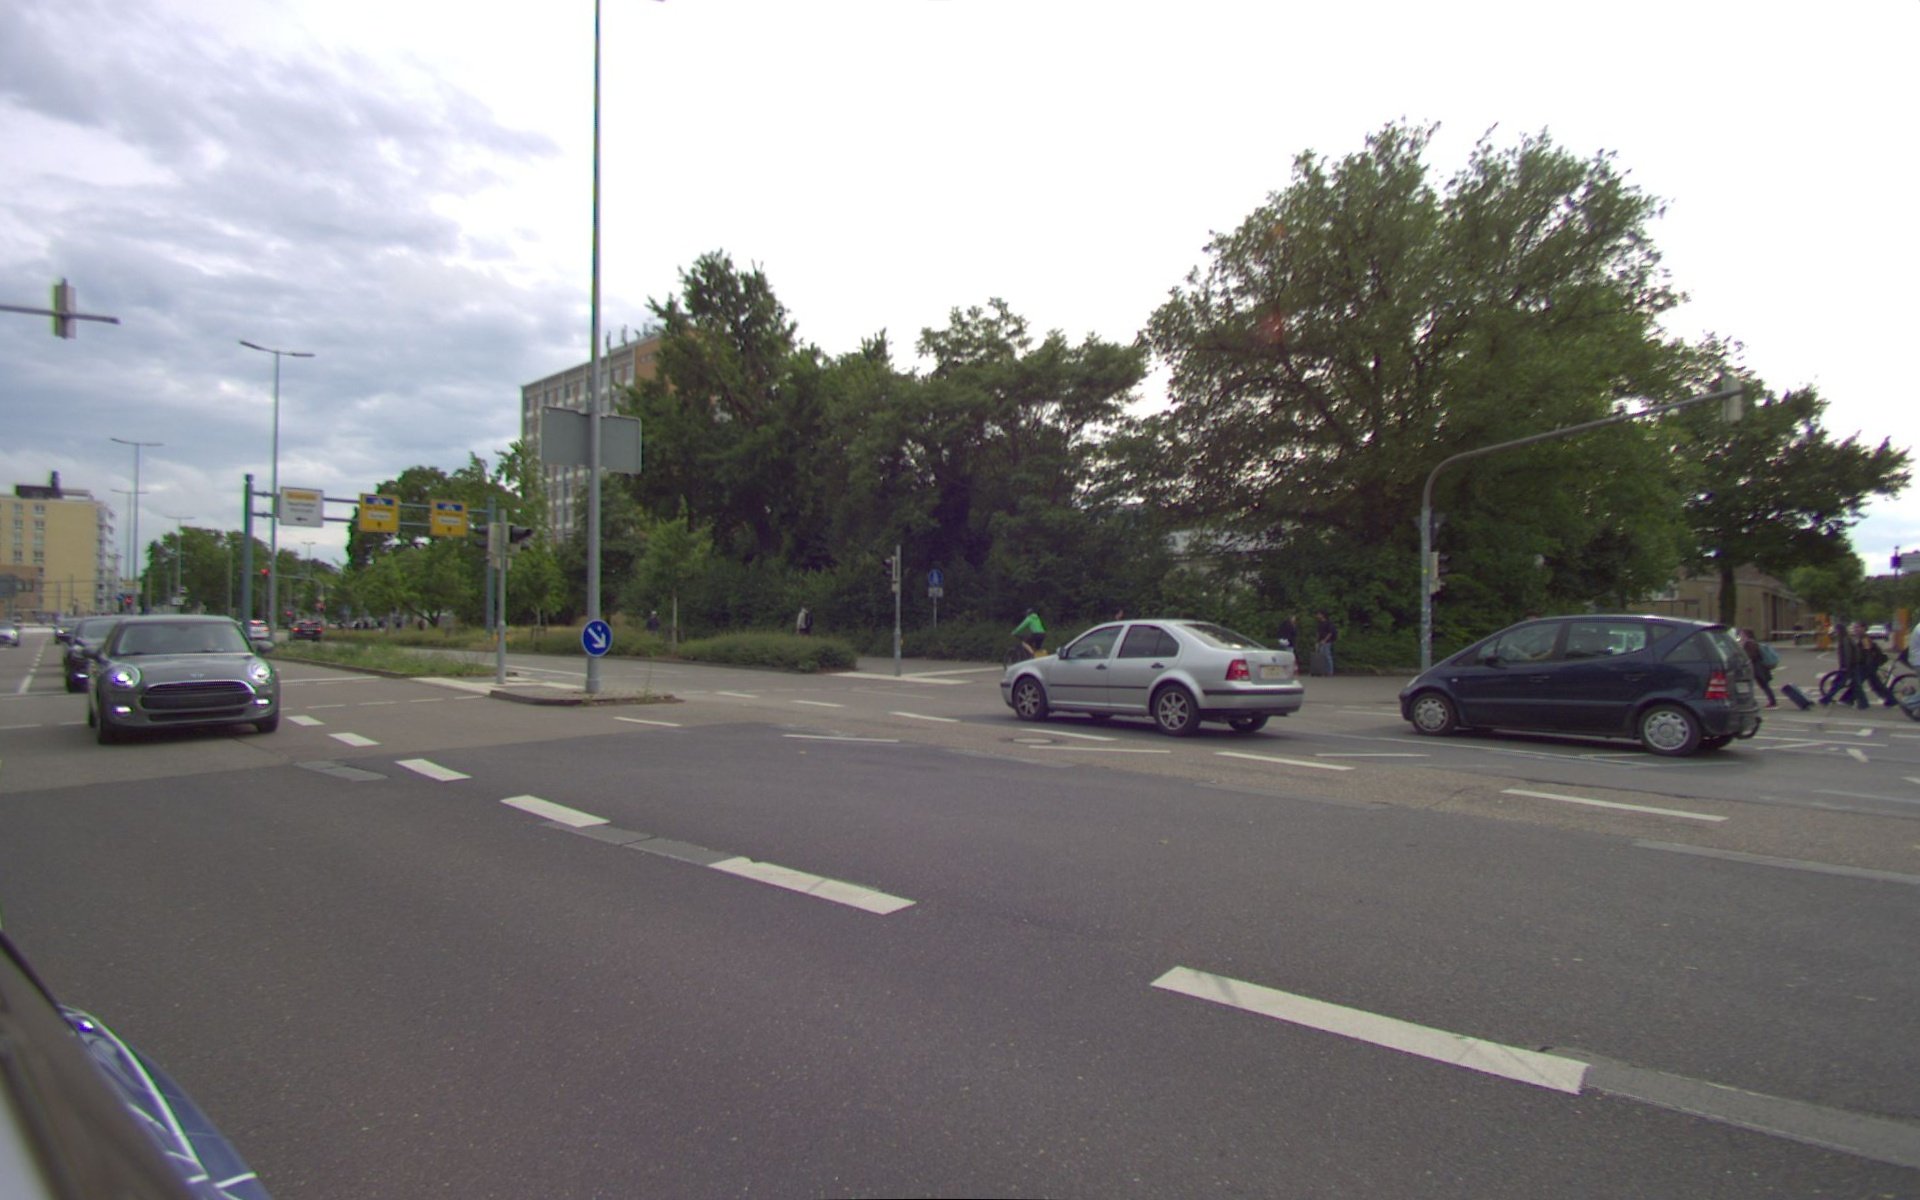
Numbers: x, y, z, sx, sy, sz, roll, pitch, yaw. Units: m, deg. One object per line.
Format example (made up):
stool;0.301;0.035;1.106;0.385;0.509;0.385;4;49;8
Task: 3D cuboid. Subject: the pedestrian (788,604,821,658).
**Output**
pedestrian;-5.990;1.178;38.942;0.895;2.029;0.824;-2;-1;-38

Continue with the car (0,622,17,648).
car;-52.213;1.890;54.826;1.583;1.378;3.582;0;-1;-44

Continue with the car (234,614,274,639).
car;-53.530;2.004;76.673;1.866;1.786;4.003;-1;0;-44

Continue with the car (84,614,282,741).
car;-9.664;0.863;12.488;1.601;1.328;3.709;2;-2;-42

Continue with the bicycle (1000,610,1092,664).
bicycle;2.210;0.952;26.253;2.297;1.343;0.602;-1;0;25

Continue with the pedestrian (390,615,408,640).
pedestrian;-47.398;2.307;85.503;1.220;2.029;0.870;-1;-1;40

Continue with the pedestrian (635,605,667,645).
pedestrian;-12.874;1.045;42.181;0.814;1.637;0.976;-2;-1;45

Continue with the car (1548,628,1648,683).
car;18.935;1.583;29.985;1.863;1.461;3.545;-1;-1;43

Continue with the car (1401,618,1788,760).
car;7.692;0.977;12.507;1.830;1.475;3.701;2;-2;-42

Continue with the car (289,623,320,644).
car;-50.609;2.584;78.083;1.825;1.564;4.009;0;-1;-36

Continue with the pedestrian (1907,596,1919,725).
pedestrian;16.004;0.963;16.366;0.852;2.074;0.660;-3;-2;39

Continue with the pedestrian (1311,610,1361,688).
pedestrian;10.101;1.306;27.233;1.089;2.029;1.037;-1;0;13

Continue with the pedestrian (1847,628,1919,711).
pedestrian;17.547;1.289;19.198;0.812;1.525;0.976;2;-3;-43

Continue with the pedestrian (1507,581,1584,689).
pedestrian;11.420;0.672;19.792;1.135;2.029;1.174;-1;0;24

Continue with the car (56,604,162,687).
car;-22.669;1.162;26.910;1.969;2.029;4.004;2;-2;-42

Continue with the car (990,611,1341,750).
car;2.589;0.959;13.532;1.969;1.541;4.279;2;-2;-42

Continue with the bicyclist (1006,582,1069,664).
bicyclist;2.005;0.586;26.130;1.274;2.029;1.174;-1;0;24

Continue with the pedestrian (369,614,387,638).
pedestrian;-49.419;2.233;85.930;1.220;2.029;0.870;-1;-1;40

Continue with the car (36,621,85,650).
car;-52.814;2.047;59.410;1.970;1.557;4.003;-1;0;-44

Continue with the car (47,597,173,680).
car;-16.901;0.740;20.059;1.707;1.470;4.004;2;-2;-42

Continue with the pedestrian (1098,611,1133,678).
pedestrian;4.016;1.136;26.091;0.582;1.708;0.653;-1;-1;-43

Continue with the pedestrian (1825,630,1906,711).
pedestrian;16.768;1.287;18.770;0.998;1.439;0.692;-1;-1;35

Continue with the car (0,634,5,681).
car;-24.932;1.480;25.029;1.677;1.197;2.835;-1;0;-39

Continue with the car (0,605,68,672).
car;-29.741;1.203;32.178;1.969;2.029;4.004;2;-2;-42

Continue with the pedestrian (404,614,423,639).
pedestrian;-44.132;2.142;81.711;1.120;1.933;1.164;-1;-1;-40

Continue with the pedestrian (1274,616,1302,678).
pedestrian;8.806;1.262;27.154;0.601;1.619;0.497;-1;-4;34

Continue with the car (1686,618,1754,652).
car;35.633;1.633;47.436;2.001;1.552;3.941;-1;-2;45
